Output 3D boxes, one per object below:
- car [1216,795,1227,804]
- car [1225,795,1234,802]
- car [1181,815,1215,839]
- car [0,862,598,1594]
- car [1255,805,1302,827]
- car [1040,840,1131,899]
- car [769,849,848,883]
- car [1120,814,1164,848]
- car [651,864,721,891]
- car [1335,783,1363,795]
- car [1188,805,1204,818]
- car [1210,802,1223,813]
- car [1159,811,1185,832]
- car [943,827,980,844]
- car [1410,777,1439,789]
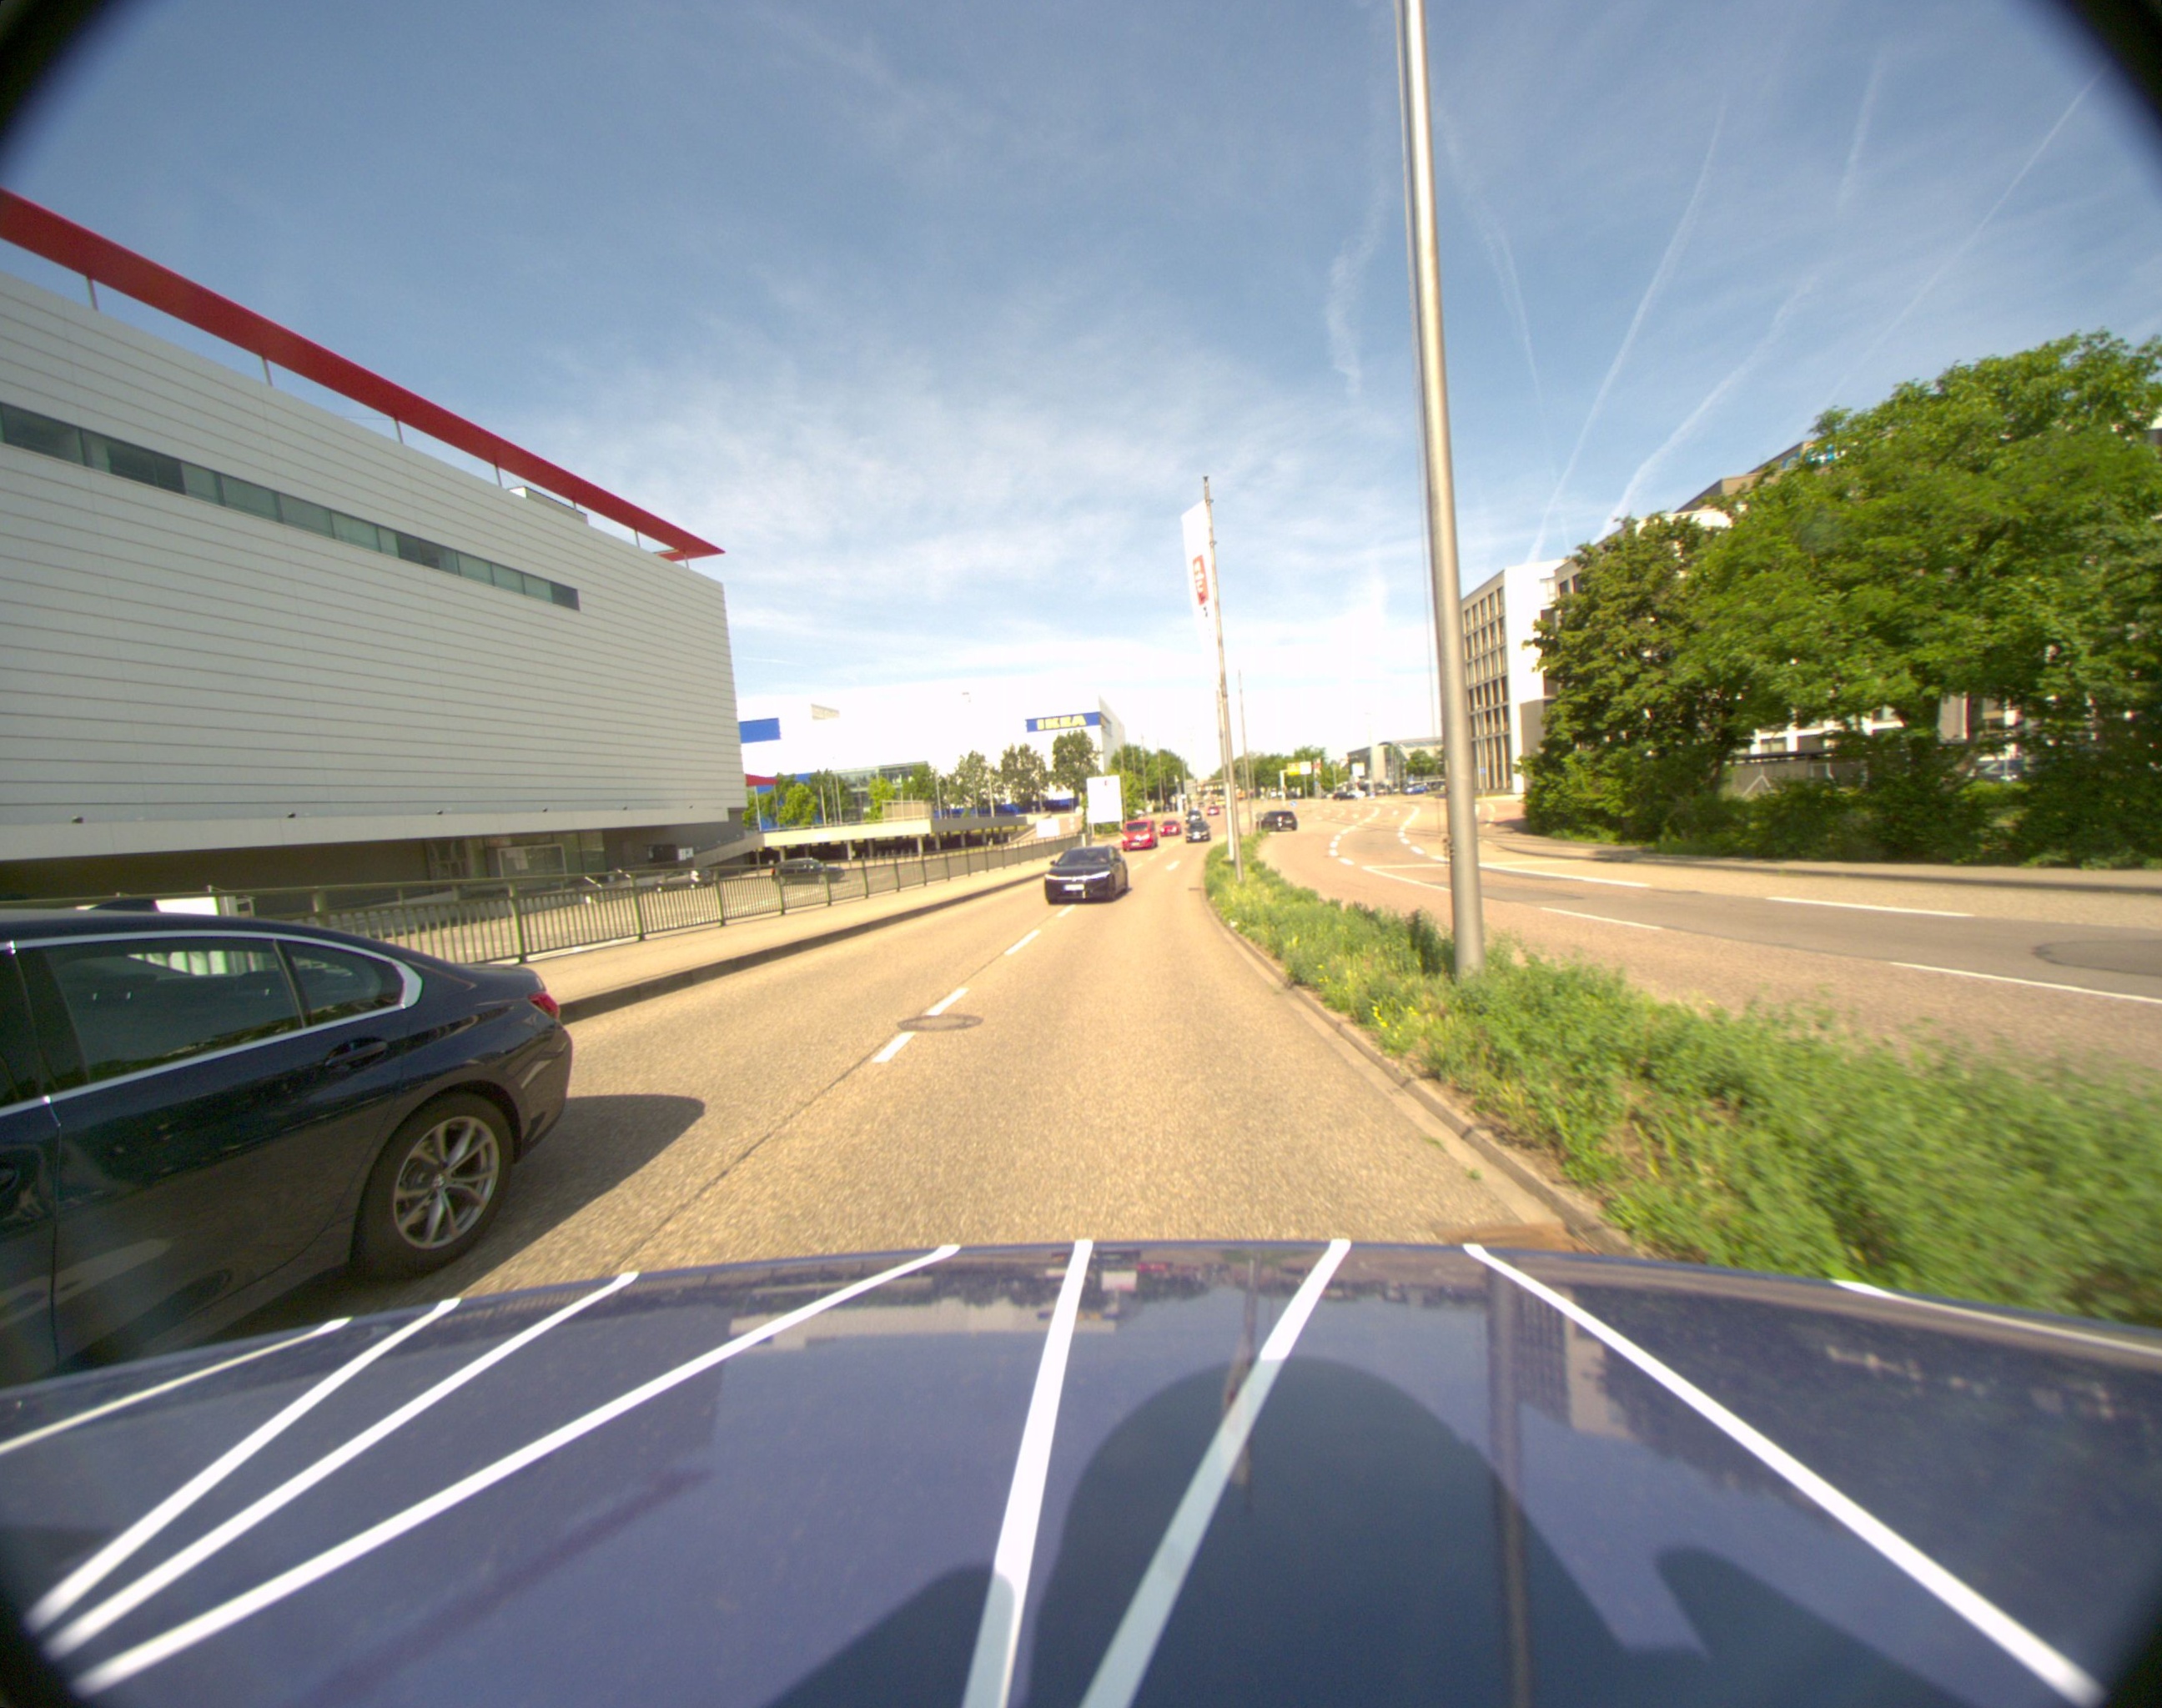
[{"bbox_3d":[27.205,-10.564,147.158,1.824,1.467,4.000,-4,4,11],"label":"car"},{"bbox_3d":[33.805,-12.690,173.319,1.824,1.467,4.000,-4,4,11],"label":"car"},{"bbox_3d":[8.556,-1.998,55.152,1.847,1.411,4.002,-2,4,17],"label":"car"},{"bbox_3d":[-3.373,1.010,1.434,1.792,1.476,4.516,-5,4,2],"label":"car"},{"bbox_3d":[15.506,-2.984,59.875,1.862,1.521,4.137,-5,4,-11],"label":"car"},{"bbox_3d":[0.237,0.401,22.147,1.859,1.520,4.147,-1,0,11],"label":"car"},{"bbox_3d":[-17.387,0.787,48.537,4.409,1.723,1.863,-4,4,19],"label":"car"},{"bbox_3d":[4.133,-1.610,51.211,1.986,1.897,4.145,-4,4,17],"label":"car"},{"bbox_3d":[-27.296,1.610,52.534,3.864,1.368,1.811,-5,3,10],"label":"car"},{"bbox_3d":[46.612,-11.320,132.277,4.385,1.838,1.813,-2,5,26],"label":"car"},{"bbox_3d":[14.393,-5.318,94.772,1.824,1.467,4.000,-4,4,11],"label":"car"},{"bbox_3d":[20.791,-7.085,116.709,1.824,1.467,4.000,-4,4,11],"label":"car"},{"bbox_3d":[8.435,-3.035,70.105,1.775,1.650,4.144,-4,4,14],"label":"car"},{"bbox_3d":[-15.361,-2.425,97.737,4.314,1.824,2.000,-4,2,4],"label":"car"},{"bbox_3d":[60.204,-12.426,133.256,4.388,1.838,1.812,-3,4,15],"label":"car"}]
